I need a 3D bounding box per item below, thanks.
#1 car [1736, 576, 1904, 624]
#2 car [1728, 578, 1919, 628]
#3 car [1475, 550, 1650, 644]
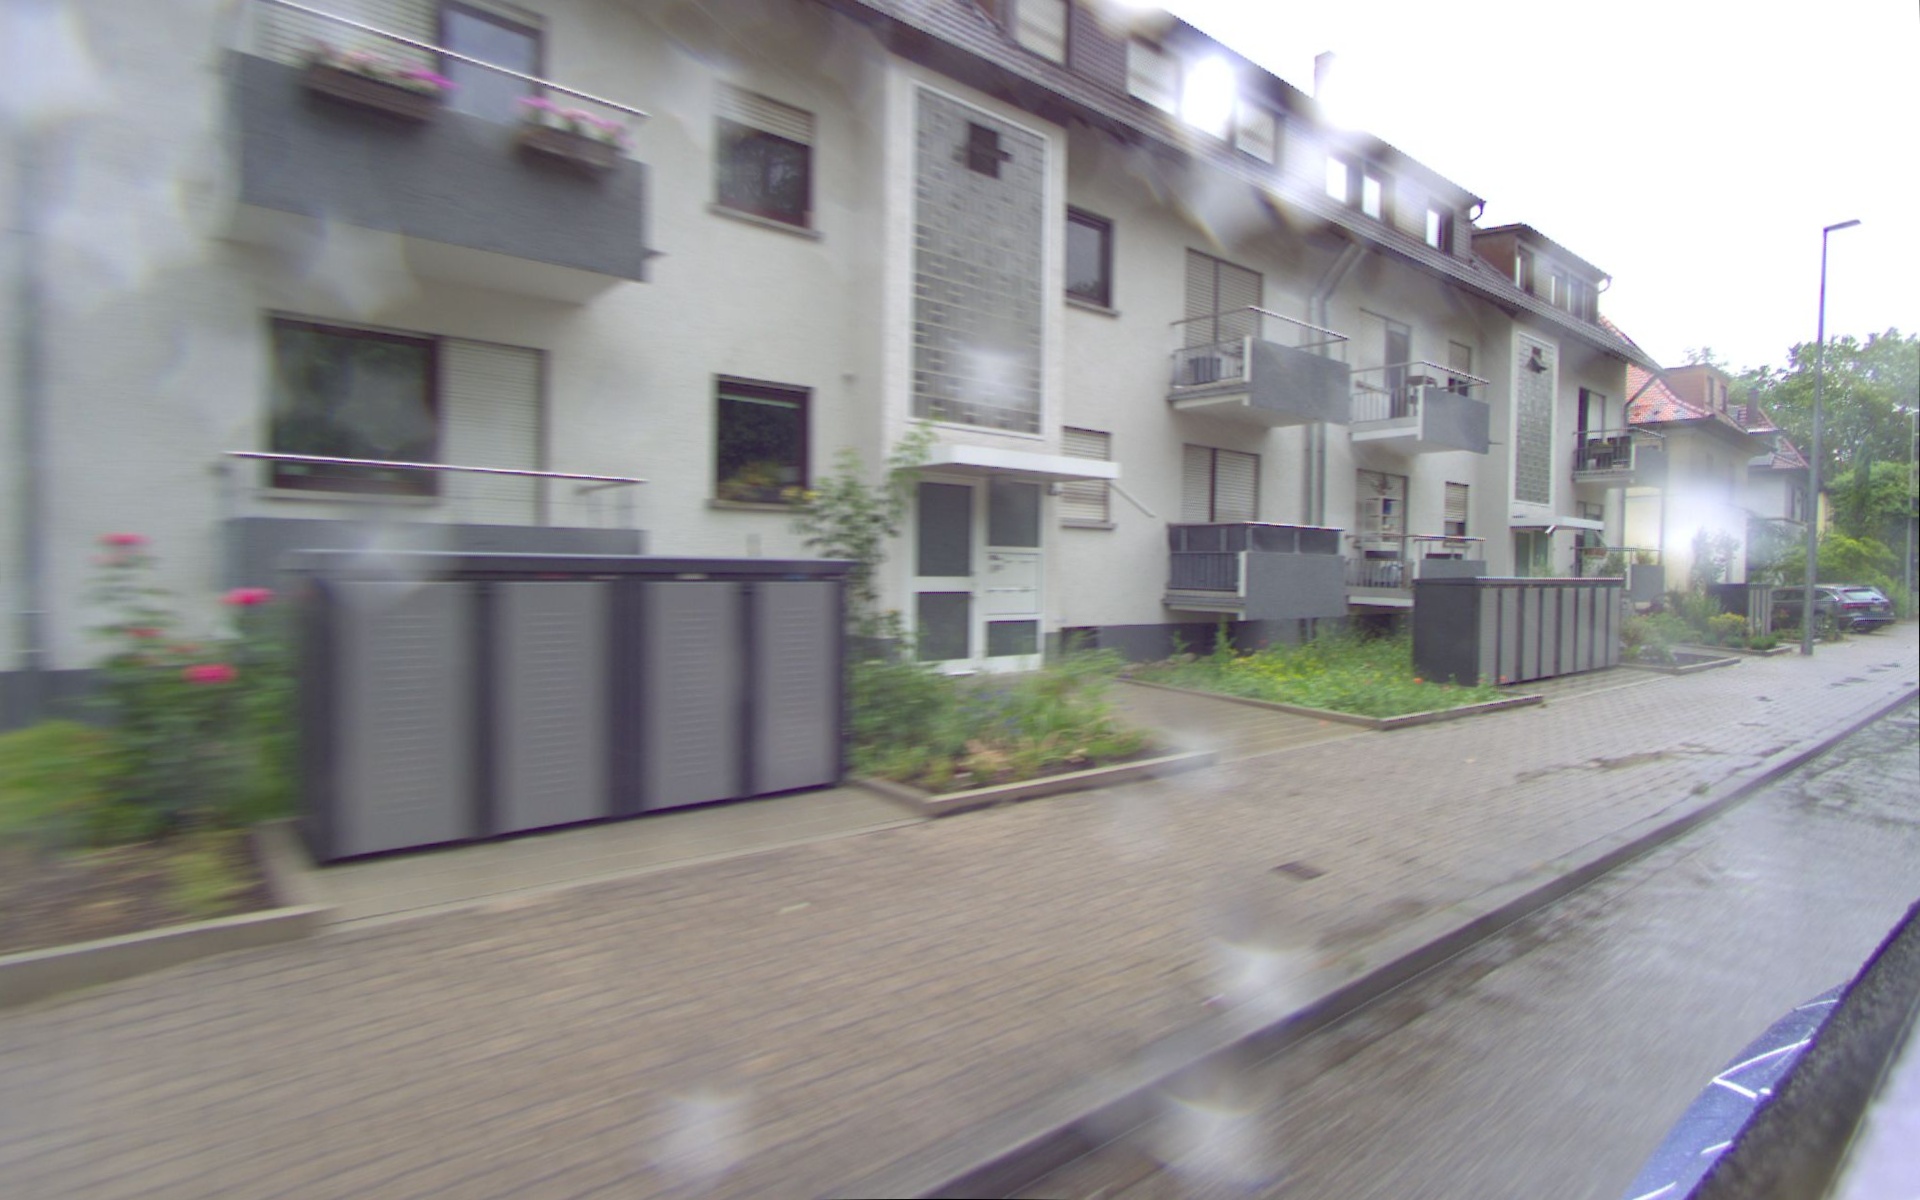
[{"bbox_3d":[28.012,-0.039,33.154,1.735,1.475,4.007,0,1,-9],"label":"car"},{"bbox_3d":[26.070,0.038,30.634,1.880,1.381,4.390,-1,1,-9],"label":"car"},{"bbox_3d":[19.352,-0.077,32.654,1.971,2.795,4.465,3,-2,-42],"label":"car"}]
